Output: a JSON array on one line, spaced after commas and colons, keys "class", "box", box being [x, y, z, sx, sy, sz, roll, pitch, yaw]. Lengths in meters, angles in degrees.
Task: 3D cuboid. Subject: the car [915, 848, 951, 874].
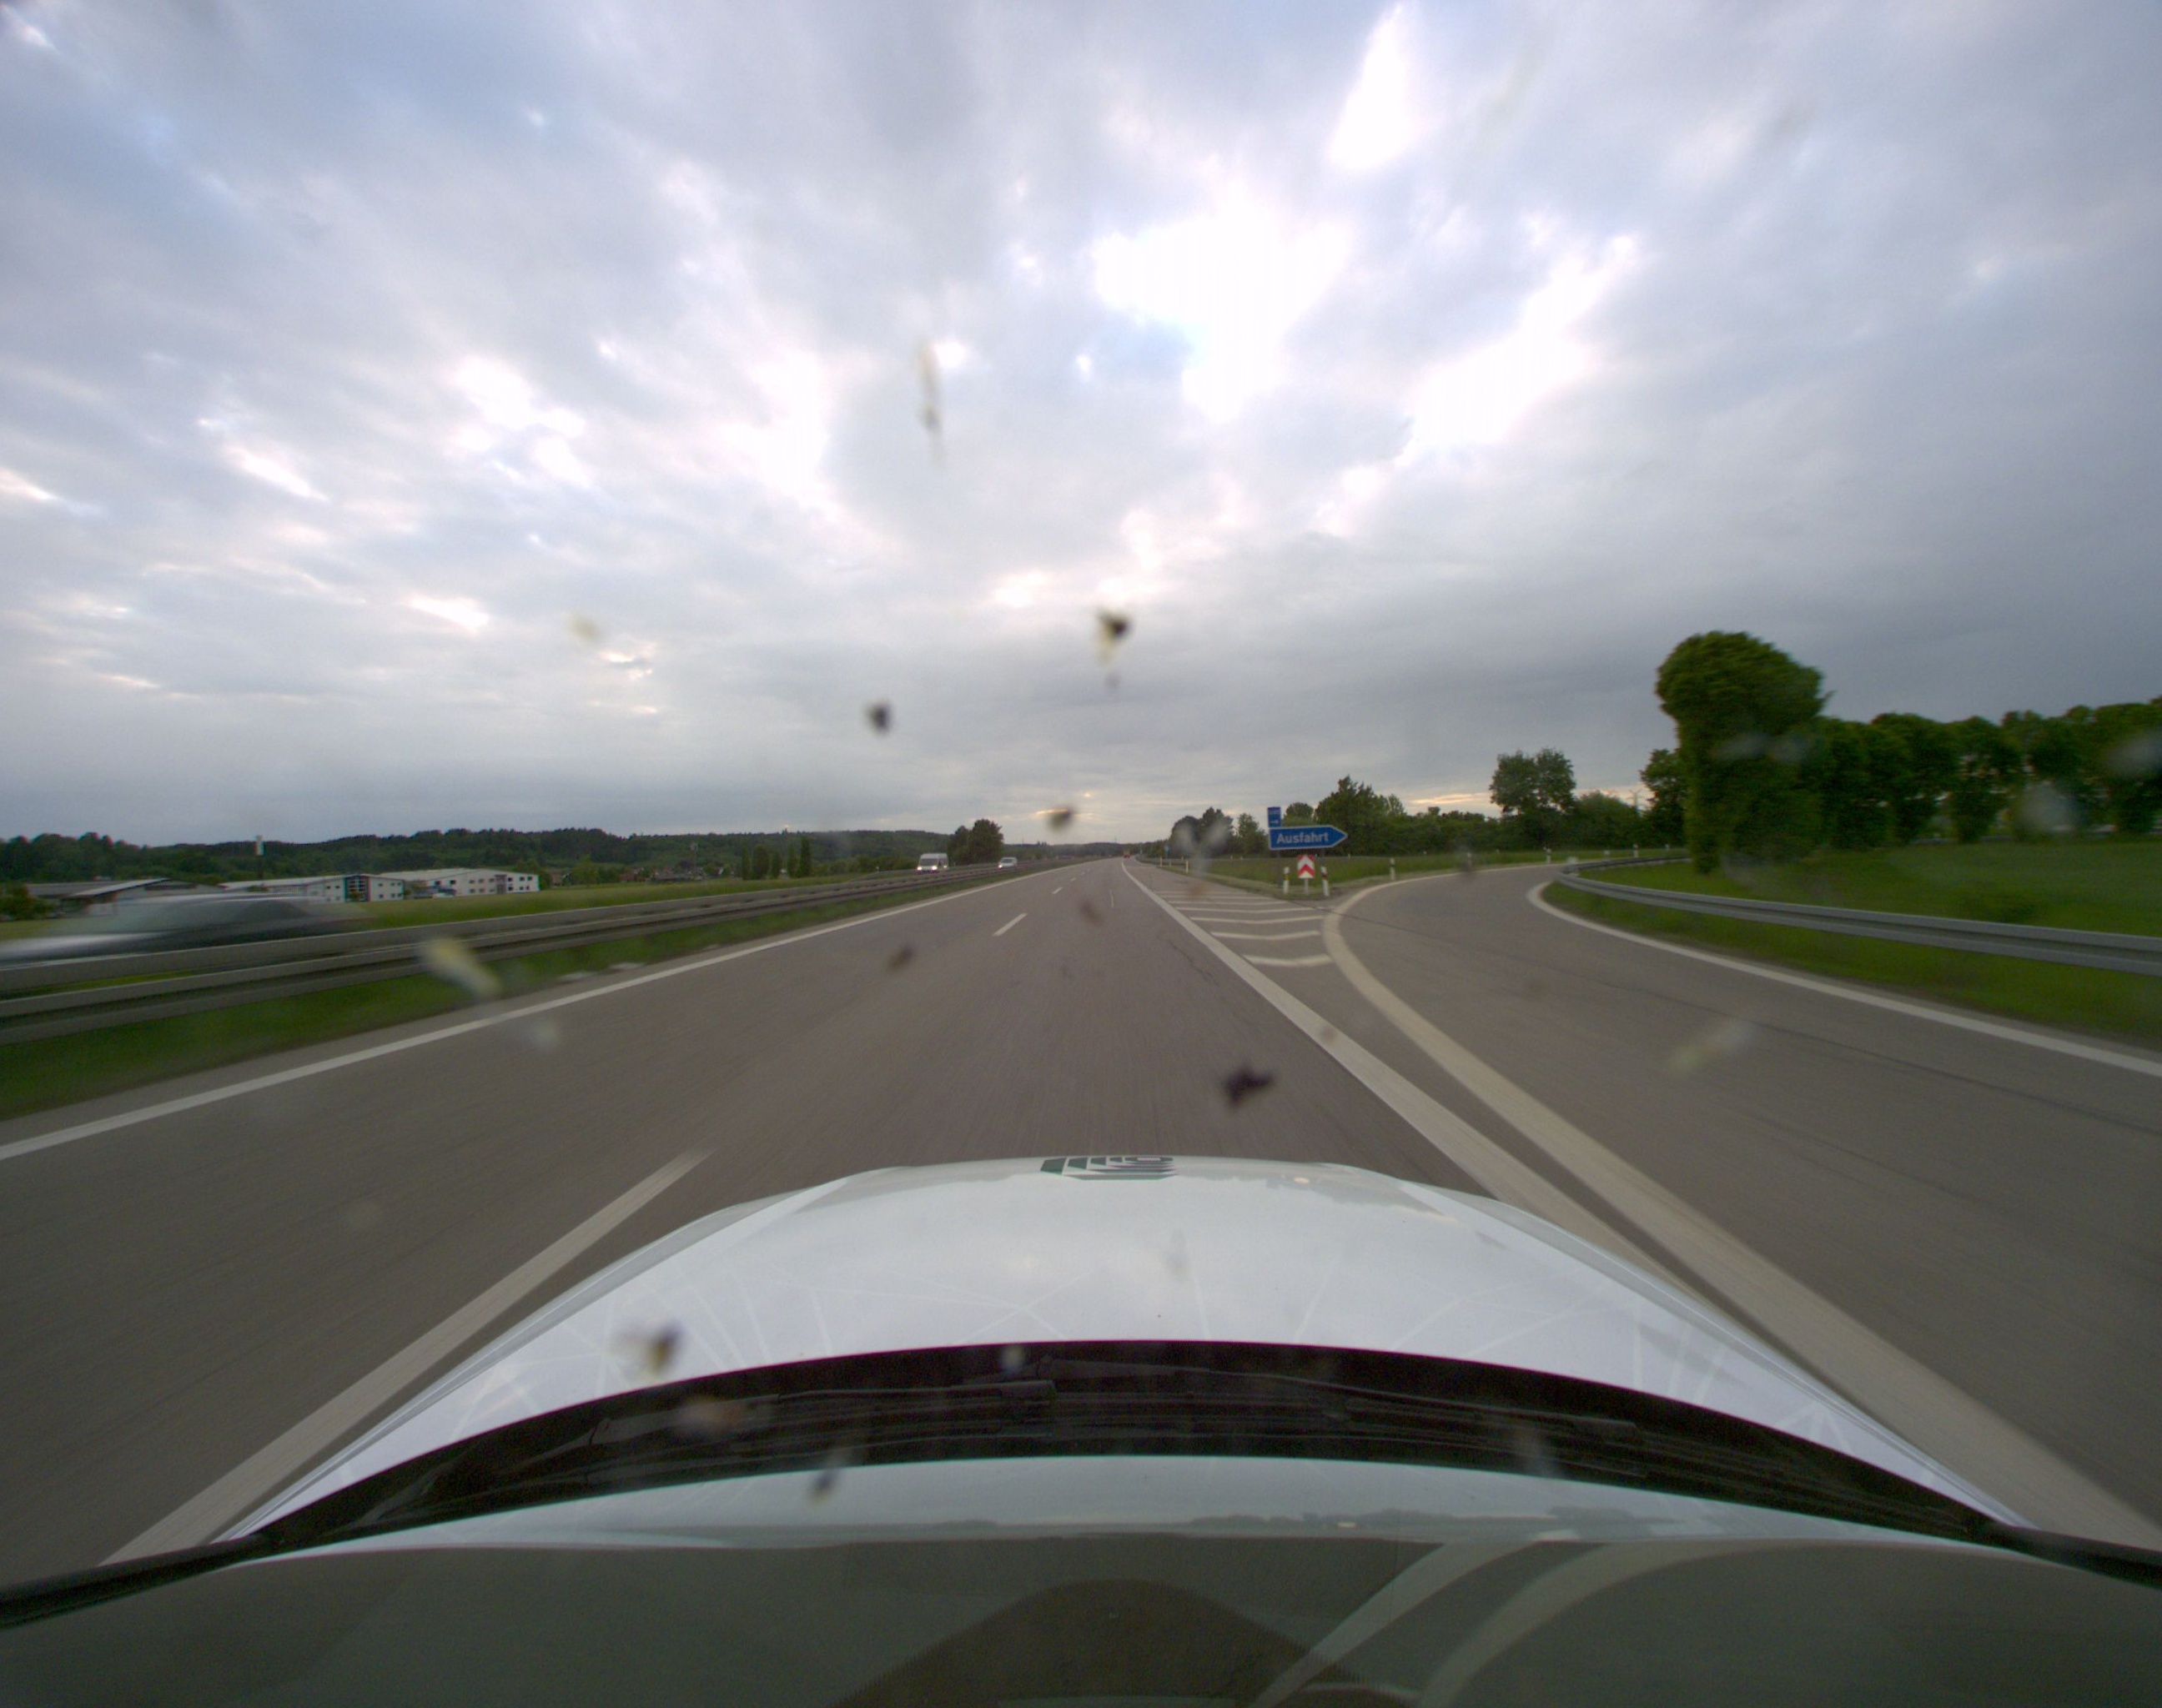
[{"class": "car", "box": [-14.802, 0.714, 81.726, 2.137, 2.483, 6.592, -1, 0, 2]}]

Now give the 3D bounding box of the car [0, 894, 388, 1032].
[{"class": "car", "box": [-13.159, 1.467, 12.272, 1.740, 1.508, 4.202, -1, 0, 2]}]

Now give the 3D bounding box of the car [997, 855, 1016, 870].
[{"class": "car", "box": [-9.749, 1.140, 106.326, 1.899, 1.890, 5.073, -1, 0, 1]}]
